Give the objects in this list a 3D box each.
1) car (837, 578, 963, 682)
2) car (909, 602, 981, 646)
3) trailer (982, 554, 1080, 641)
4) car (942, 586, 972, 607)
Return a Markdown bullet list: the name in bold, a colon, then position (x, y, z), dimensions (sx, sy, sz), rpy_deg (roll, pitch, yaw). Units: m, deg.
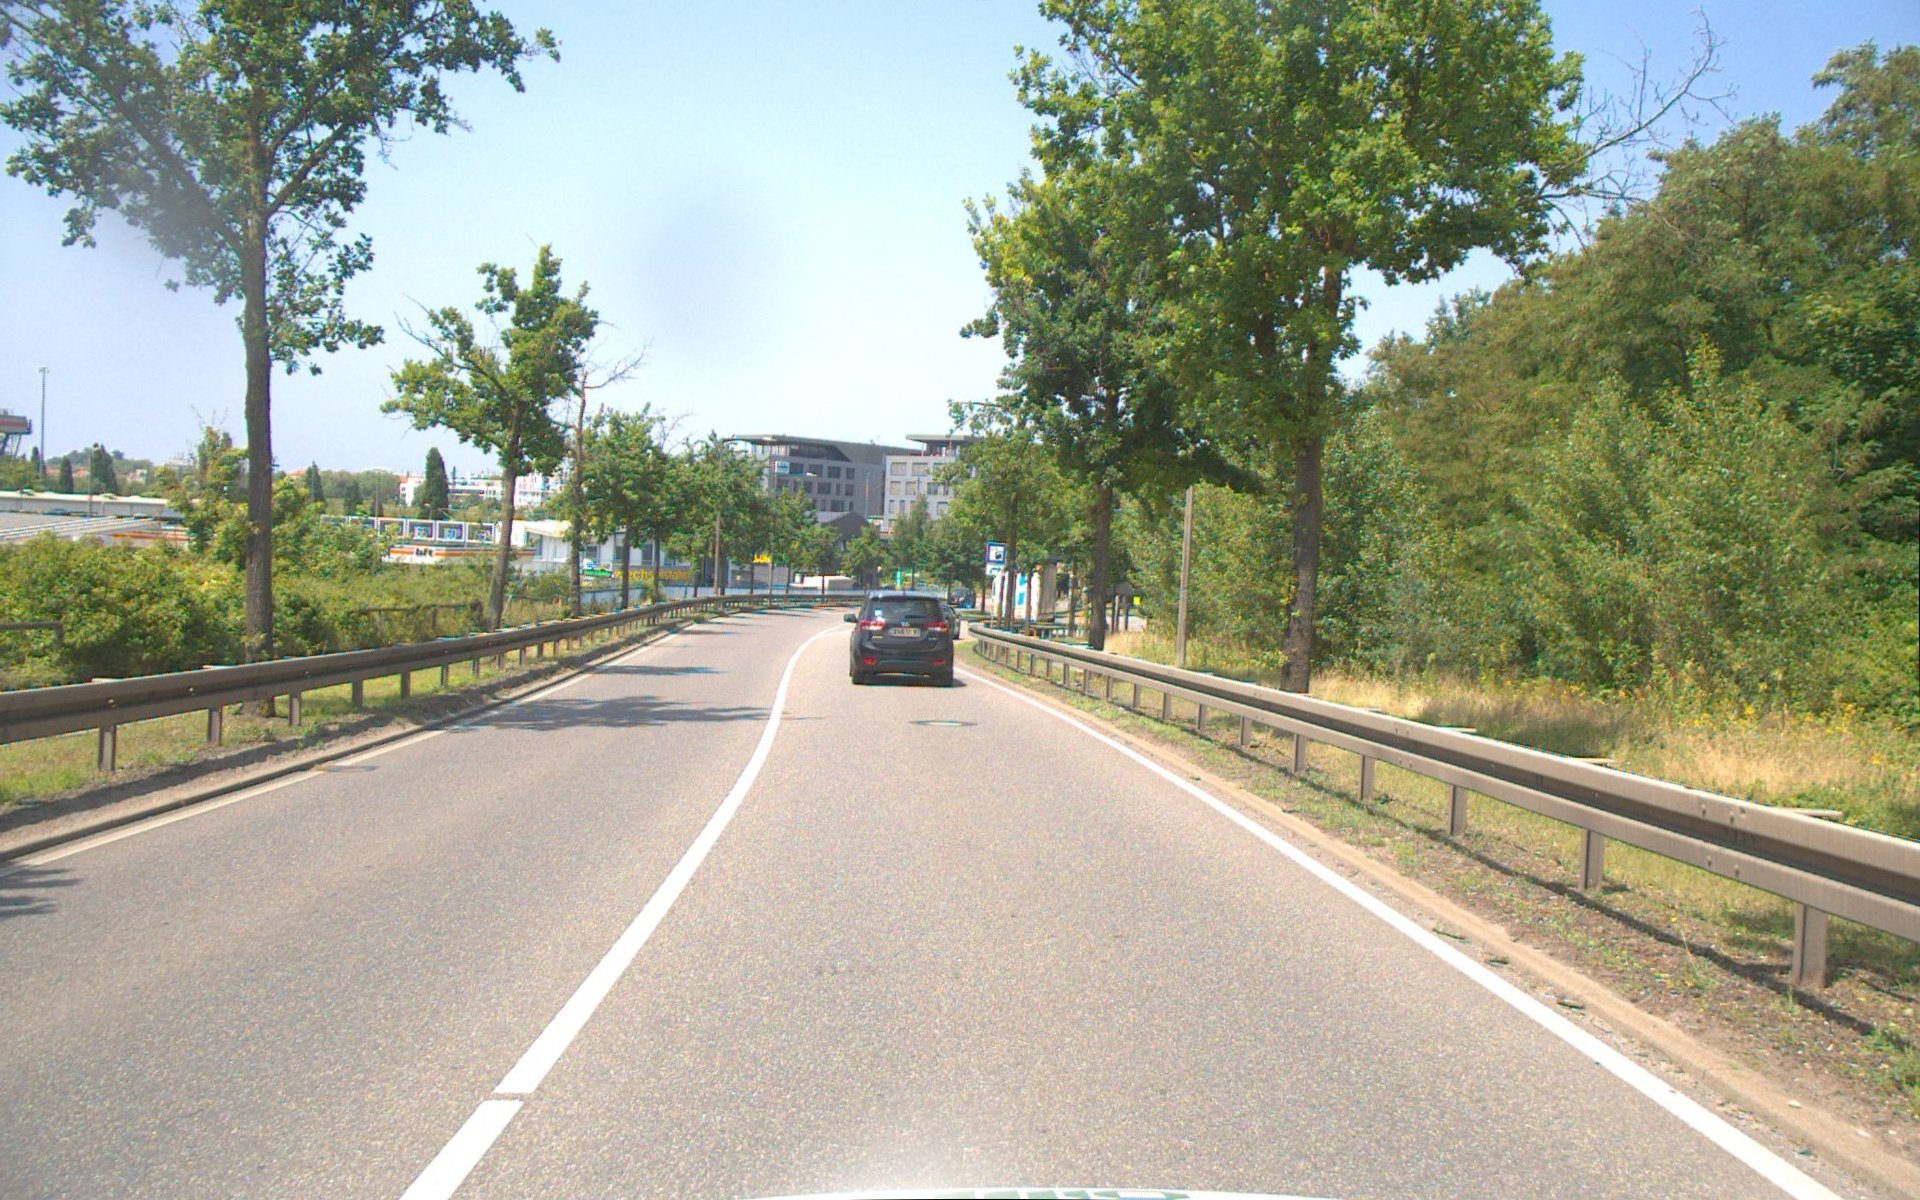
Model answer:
- **car**: position (-1.138, 0.479, 29.472), dimensions (1.734, 1.627, 4.070), rpy_deg (3, 0, -8)
- **car**: position (-0.562, 0.977, 67.702), dimensions (1.915, 1.662, 4.283), rpy_deg (2, 0, 14)
- **trailer**: position (4.288, -0.255, 94.958), dimensions (3.013, 4.444, 14.788), rpy_deg (3, 1, 12)
- **car**: position (-0.290, -0.290, 155.752), dimensions (1.769, 1.789, 4.255), rpy_deg (4, 0, 13)
